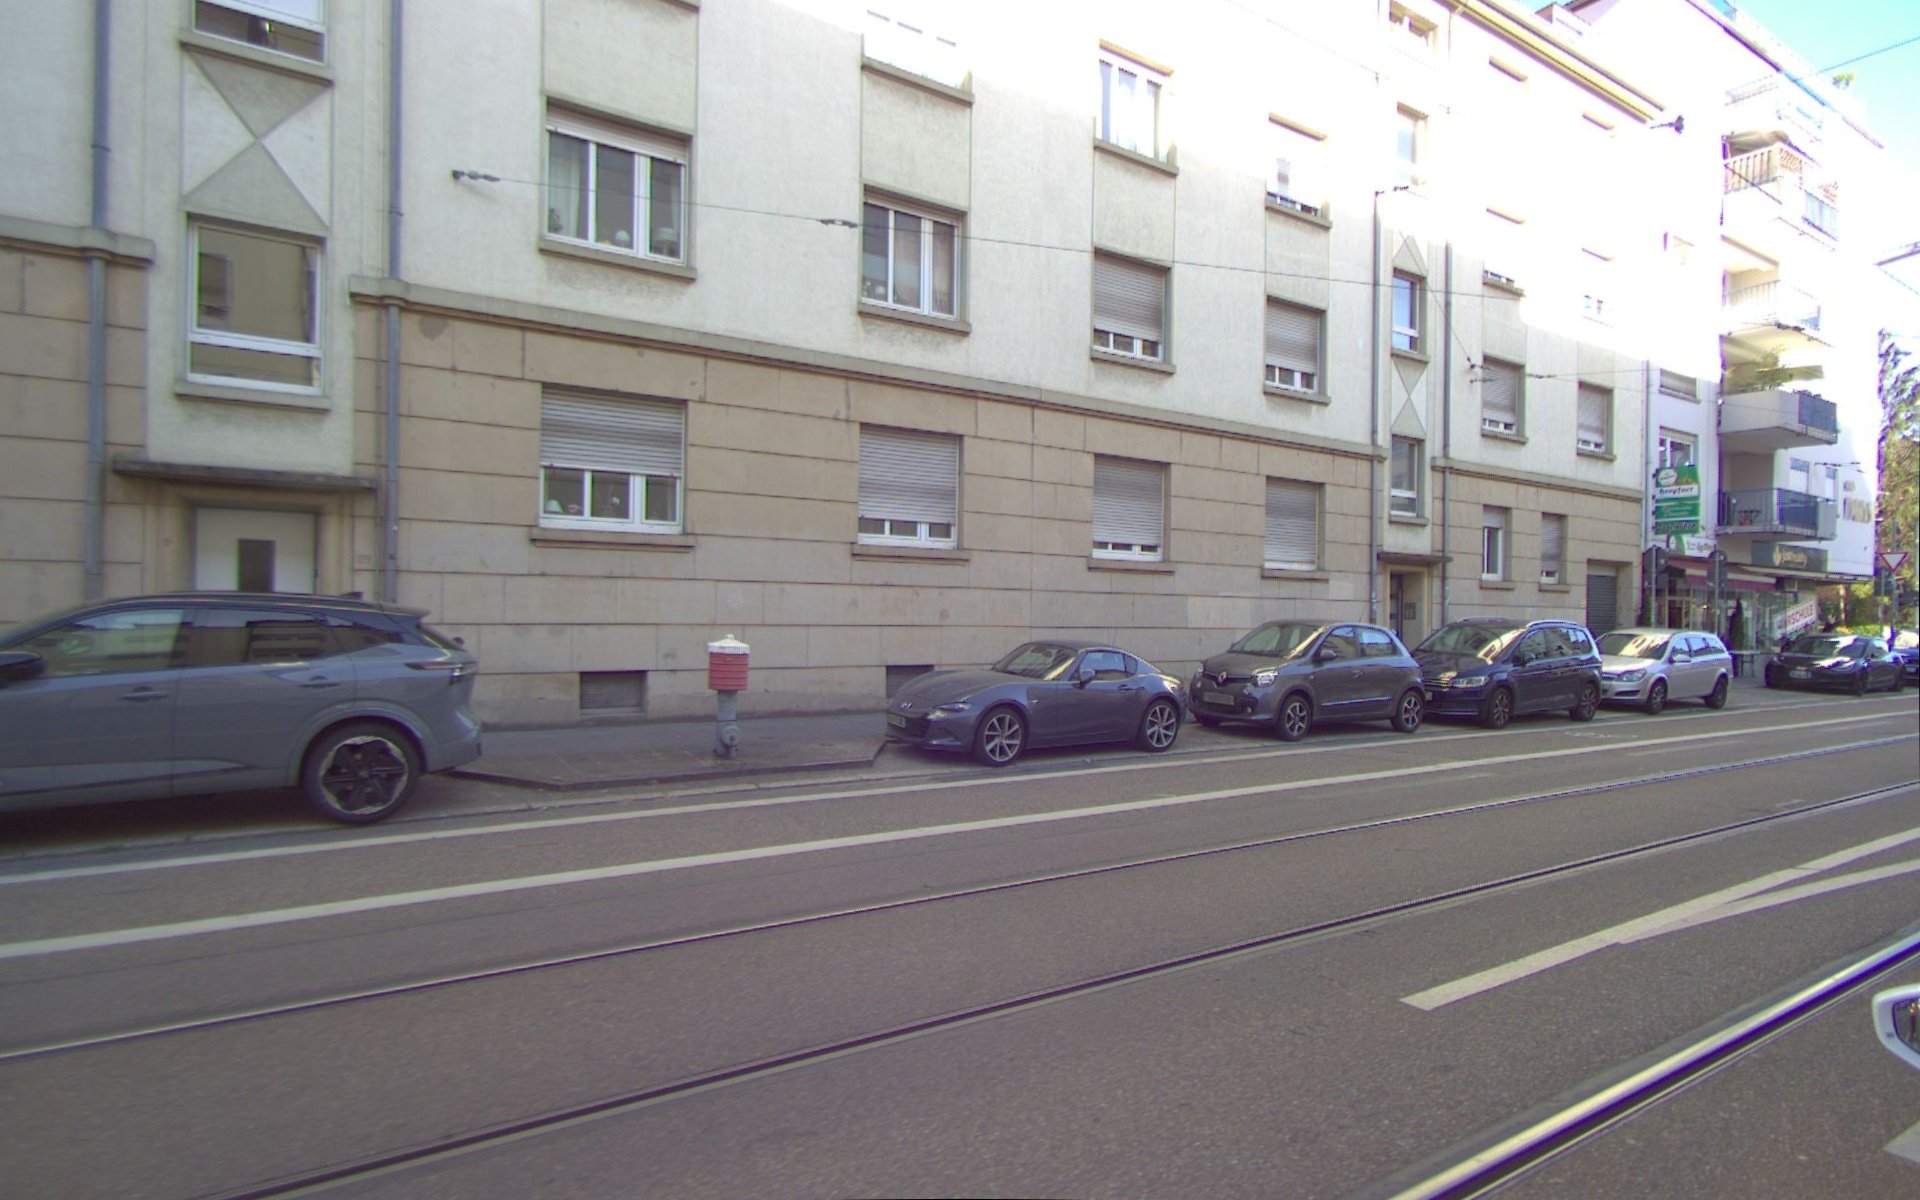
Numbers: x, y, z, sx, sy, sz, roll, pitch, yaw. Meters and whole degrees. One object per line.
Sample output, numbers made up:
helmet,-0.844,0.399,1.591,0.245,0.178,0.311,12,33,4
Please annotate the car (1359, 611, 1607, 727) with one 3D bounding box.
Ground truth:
car,8.605,1.071,16.420,4.197,1.637,1.690,2,0,-32

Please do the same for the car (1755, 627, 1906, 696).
car,21.896,1.518,25.228,4.264,1.529,1.690,2,0,-32

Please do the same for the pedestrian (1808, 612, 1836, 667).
pedestrian,32.613,1.495,38.001,0.481,2.040,0.682,1,-1,-35

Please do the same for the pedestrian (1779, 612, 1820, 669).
pedestrian,23.627,1.131,28.280,0.712,1.569,0.694,0,0,-29

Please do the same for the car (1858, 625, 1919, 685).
car,27.001,1.510,28.270,3.960,1.530,1.733,1,1,-35

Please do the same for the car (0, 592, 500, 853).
car,-5.774,0.757,7.158,4.357,1.588,1.690,1,-1,-32

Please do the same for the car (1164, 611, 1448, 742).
car,4.973,1.021,14.292,3.956,1.590,1.690,2,0,-32

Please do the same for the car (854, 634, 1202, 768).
car,0.843,1.077,11.614,3.746,1.232,1.689,2,0,-34

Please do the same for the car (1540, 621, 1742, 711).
car,13.317,1.242,19.568,4.340,1.529,1.689,2,0,-33
